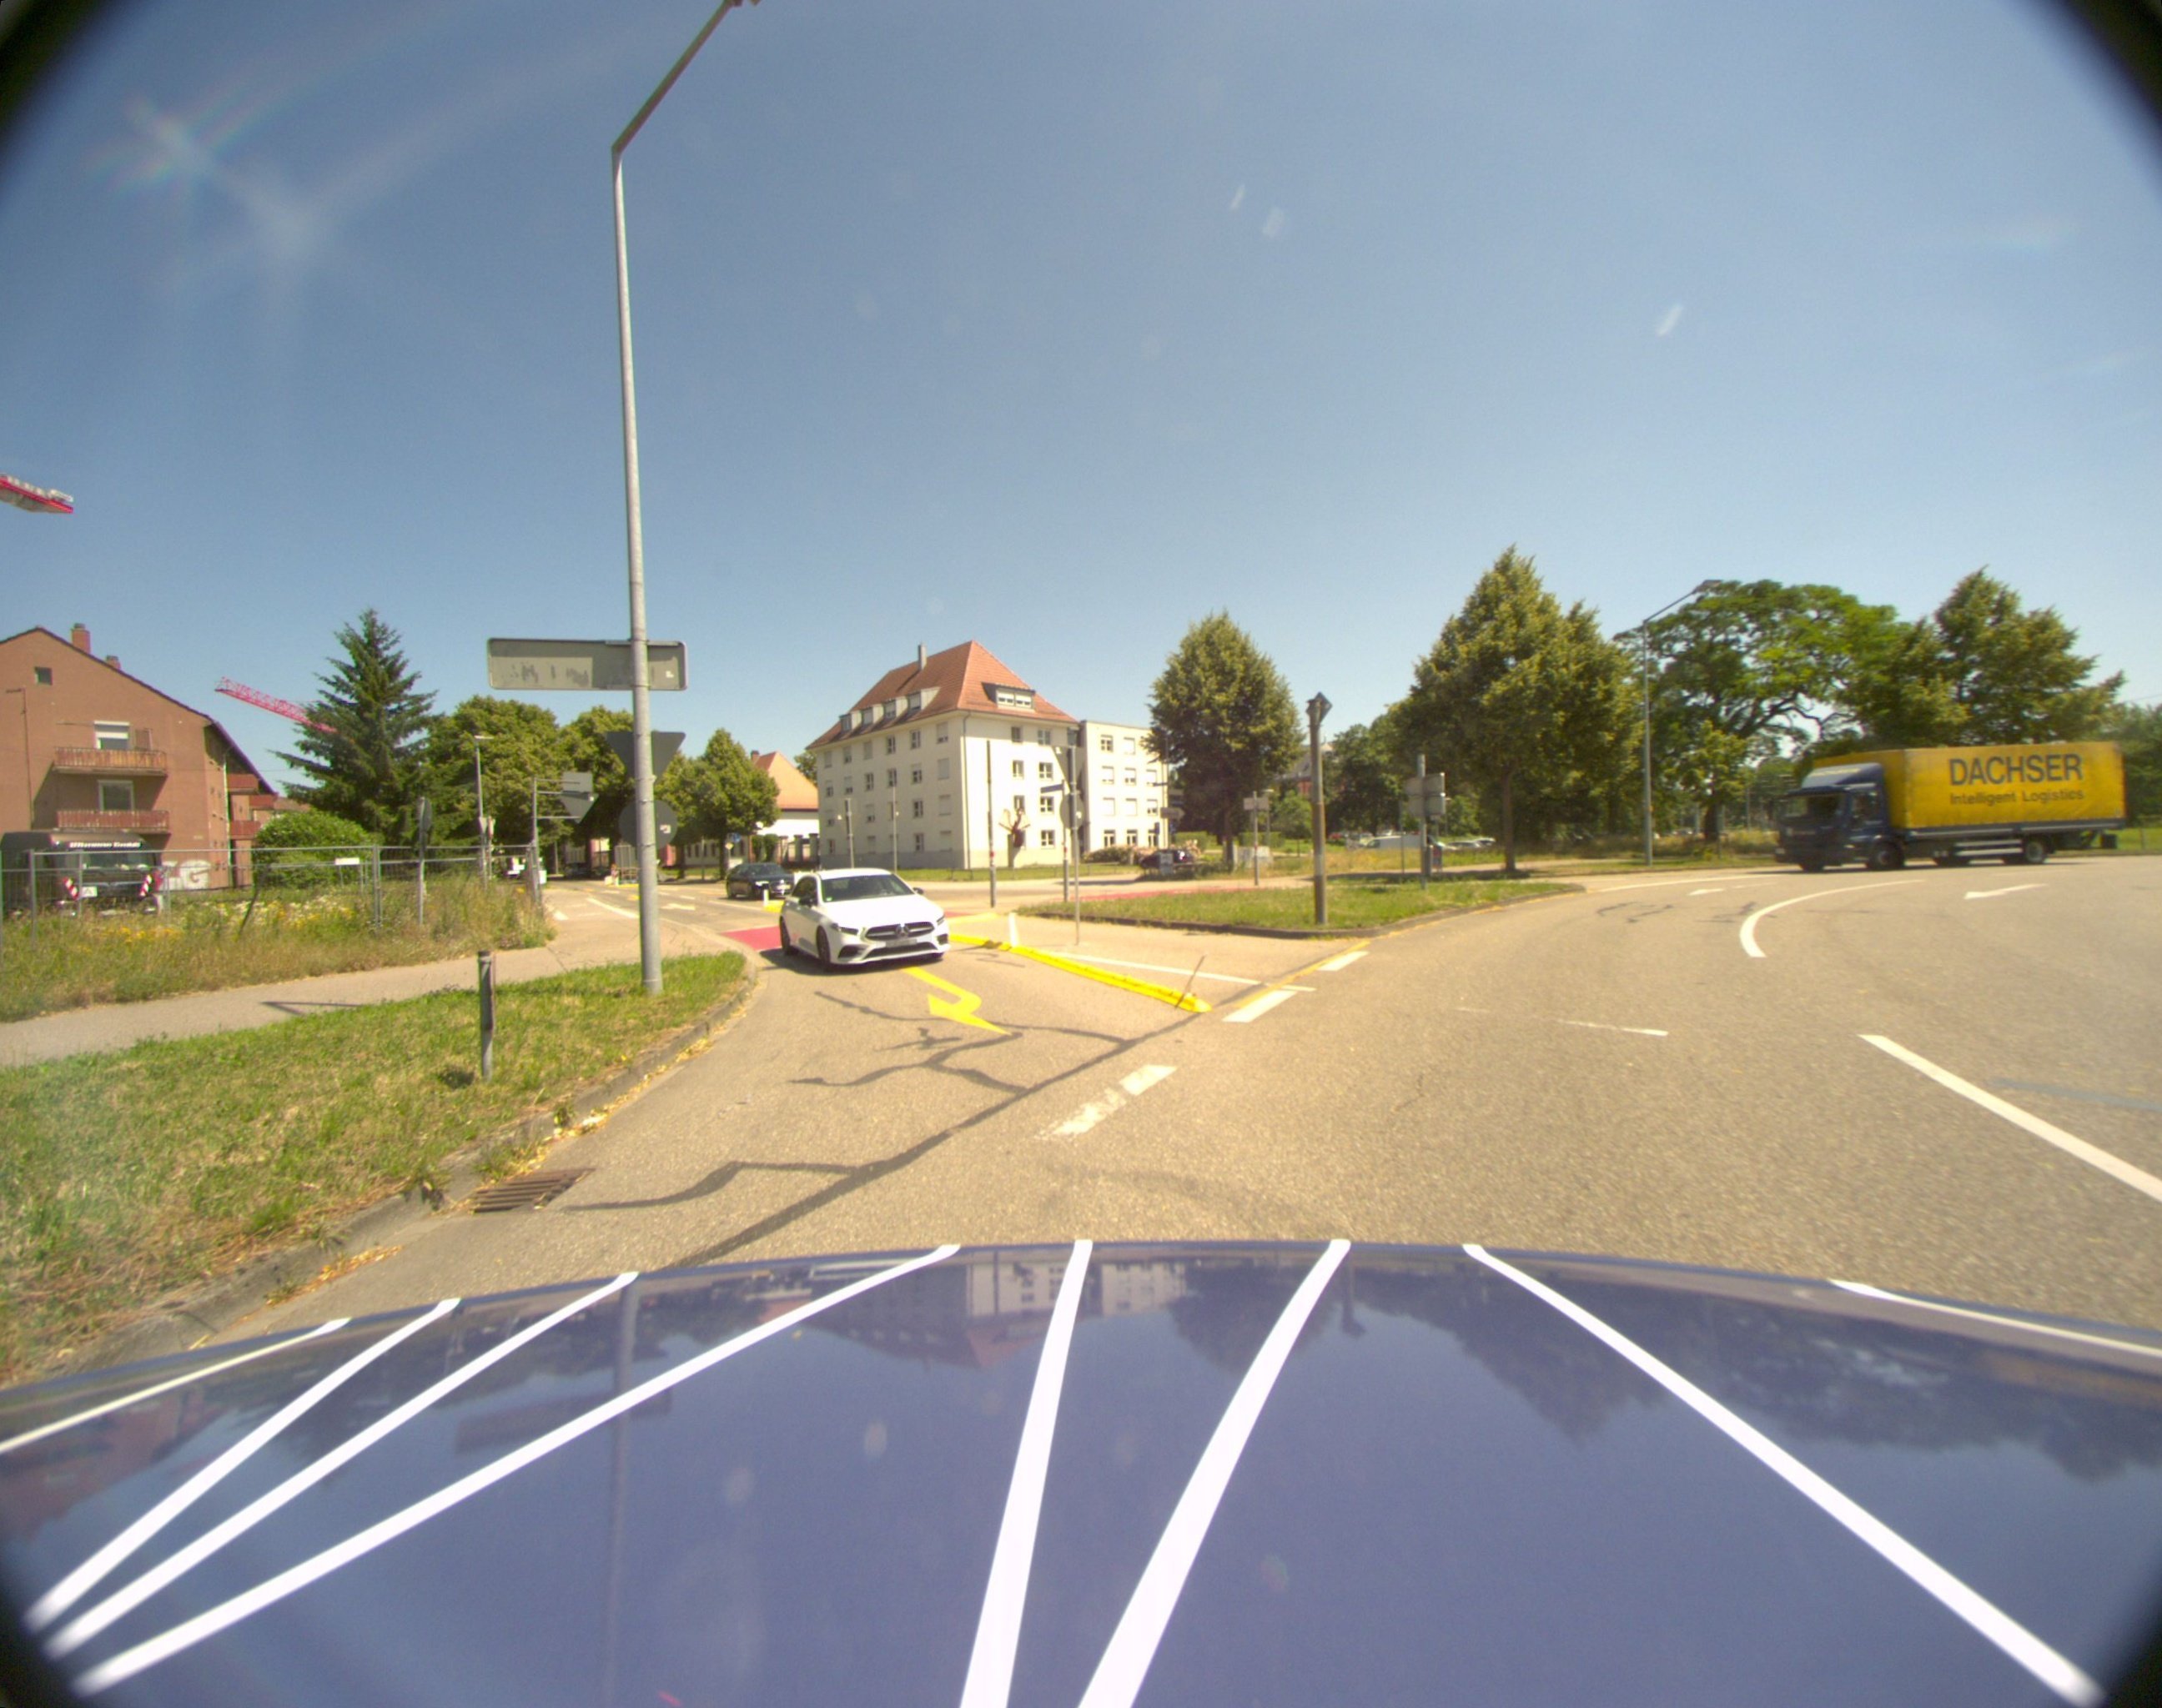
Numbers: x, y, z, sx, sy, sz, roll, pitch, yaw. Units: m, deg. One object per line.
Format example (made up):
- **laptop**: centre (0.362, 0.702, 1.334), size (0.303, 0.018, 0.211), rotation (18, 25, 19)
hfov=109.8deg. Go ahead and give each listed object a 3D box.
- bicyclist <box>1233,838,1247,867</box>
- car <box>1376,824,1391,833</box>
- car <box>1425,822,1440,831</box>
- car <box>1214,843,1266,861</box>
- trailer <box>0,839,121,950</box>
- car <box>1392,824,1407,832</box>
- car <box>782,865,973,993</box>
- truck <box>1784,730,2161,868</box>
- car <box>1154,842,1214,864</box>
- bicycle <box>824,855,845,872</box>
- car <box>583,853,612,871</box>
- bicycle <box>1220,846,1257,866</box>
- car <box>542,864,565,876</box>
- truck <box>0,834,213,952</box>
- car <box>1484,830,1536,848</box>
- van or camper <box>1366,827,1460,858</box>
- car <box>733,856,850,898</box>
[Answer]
- **bicyclist**: centre (9.330, -0.107, 44.599), size (0.709, 1.654, 0.646), rotation (-2, 1, 3)
- **car**: centre (54.451, -4.566, 136.953), size (1.475, 1.408, 3.033), rotation (-1, 2, 43)
- **car**: centre (60.947, -4.745, 131.623), size (1.475, 1.408, 3.033), rotation (-1, 2, 43)
- **car**: centre (11.546, -0.154, 55.276), size (1.359, 1.210, 3.504), rotation (-3, 1, -42)
- **trailer**: centre (-38.400, 1.481, 24.369), size (8.999, 3.513, 3.159), rotation (-3, 1, -19)
- **car**: centre (57.005, -4.668, 135.916), size (1.475, 1.408, 3.033), rotation (-1, 2, 43)
- **car**: centre (-3.331, 0.991, 11.877), size (1.784, 1.537, 3.953), rotation (-3, 1, -31)
- **truck**: centre (27.389, -1.639, 23.318), size (9.612, 3.638, 2.706), rotation (-3, 1, -4)
- **car**: centre (6.888, -0.039, 51.057), size (1.662, 1.319, 3.797), rotation (-3, 1, -42)
- **bicycle**: centre (-16.847, 0.641, 51.896), size (0.711, 1.019, 1.980), rotation (-7, 4, -37)
- **car**: centre (-51.230, 0.858, 80.500), size (1.693, 1.759, 4.192), rotation (-3, 2, -44)
- **bicycle**: centre (9.246, 0.130, 44.626), size (2.086, 1.052, 0.439), rotation (-3, 3, 3)
- **car**: centre (-68.154, 2.096, 98.102), size (3.879, 1.374, 1.647), rotation (-2, 2, 44)
- **truck**: centre (-32.812, 1.217, 24.961), size (4.959, 3.513, 3.165), rotation (-2, 1, 5)
- **car**: centre (34.660, -1.204, 61.484), size (1.359, 1.274, 3.374), rotation (-3, 1, -35)
- **van or camper**: centre (21.687, -0.744, 49.842), size (2.004, 1.847, 5.258), rotation (-4, 1, -43)
- **car**: centre (-11.915, 0.963, 31.190), size (4.606, 1.444, 1.804), rotation (-2, 4, 29)
